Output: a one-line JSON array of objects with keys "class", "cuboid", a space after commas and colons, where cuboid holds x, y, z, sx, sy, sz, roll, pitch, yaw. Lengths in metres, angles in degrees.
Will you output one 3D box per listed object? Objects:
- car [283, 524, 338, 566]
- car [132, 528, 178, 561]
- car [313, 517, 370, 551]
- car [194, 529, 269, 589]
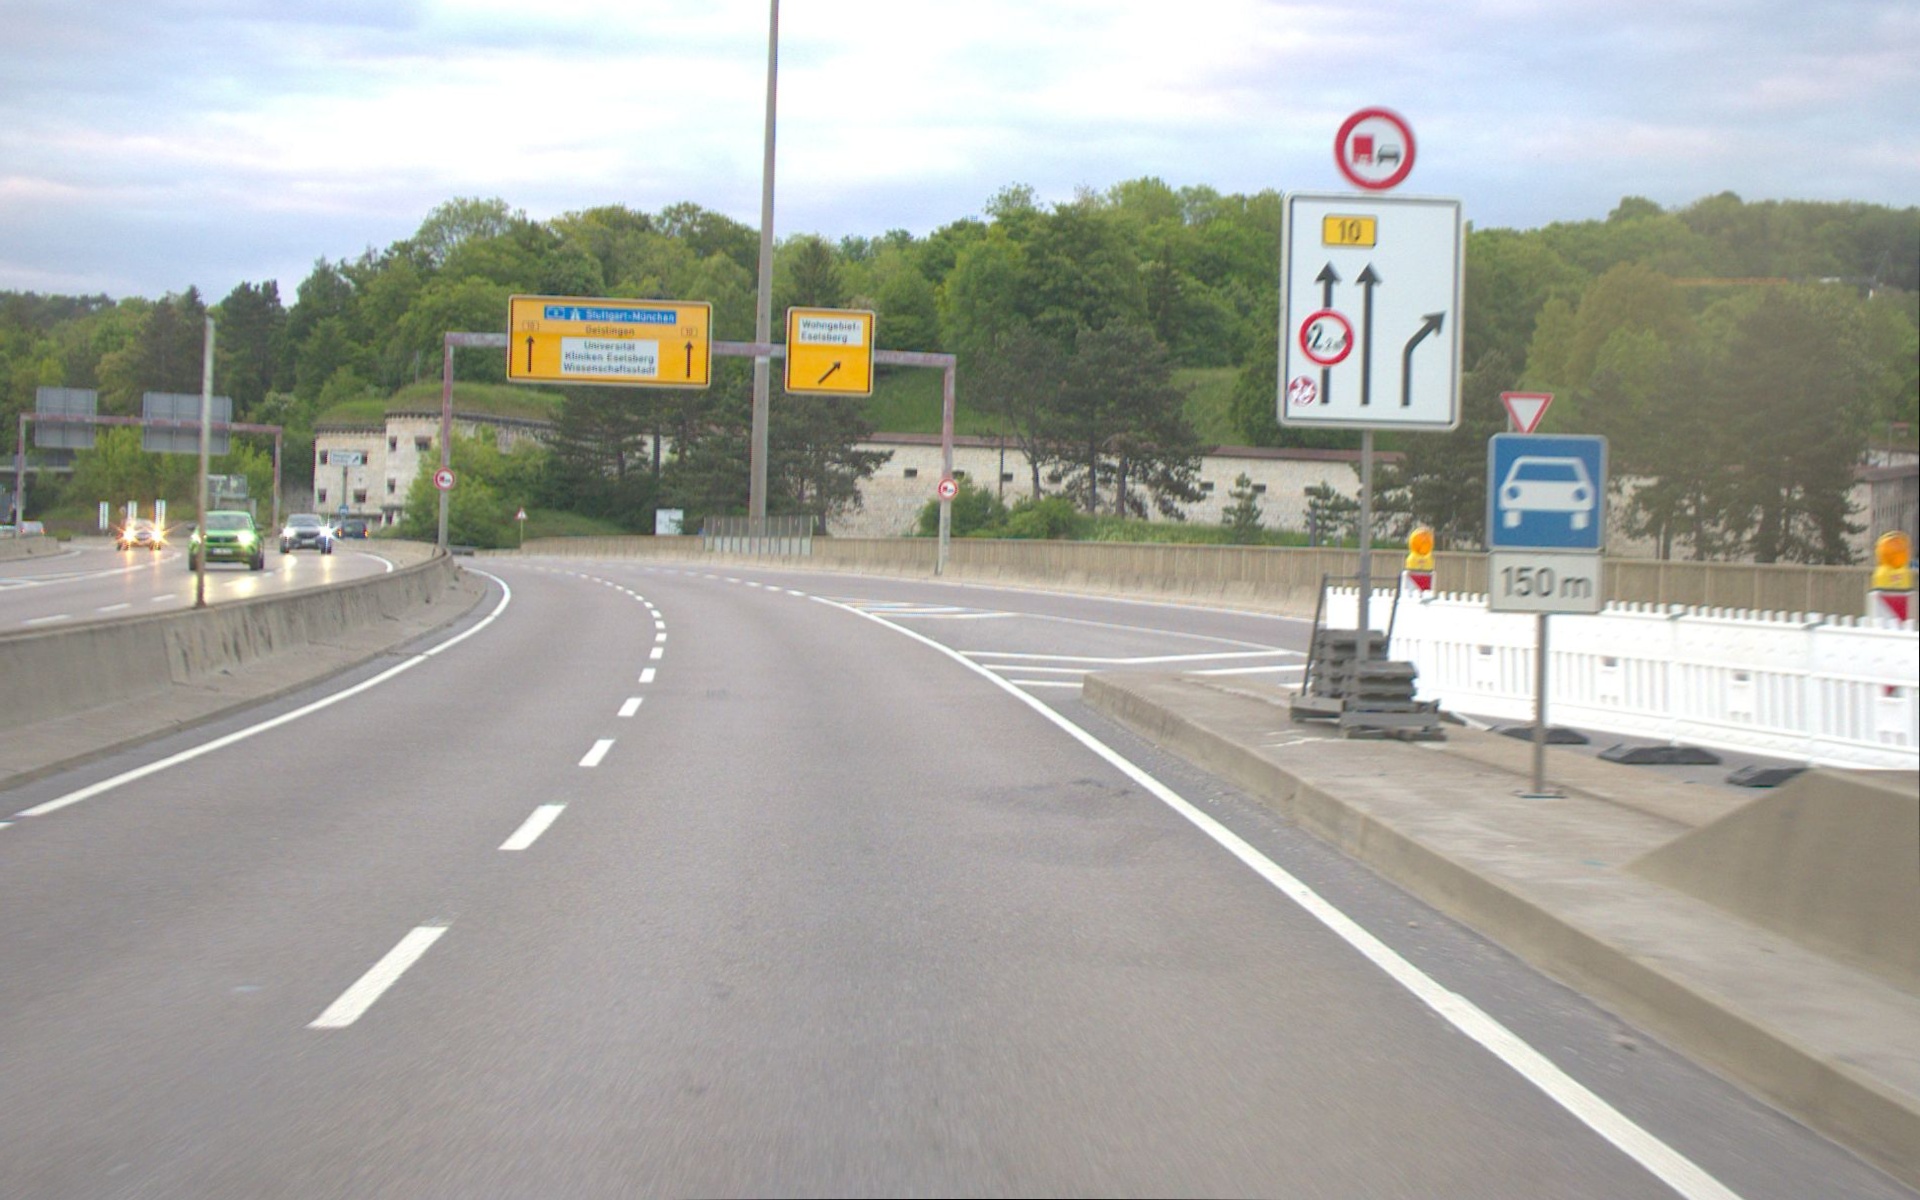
[{"class": "car", "cuboid": [-24.763, -2.102, 130.945, 1.810, 1.529, 4.548, 2, 1, -13]}, {"class": "car", "cuboid": [-37.301, -2.588, 159.267, 1.730, 1.471, 4.225, 1, 1, -17]}, {"class": "car", "cuboid": [-35.150, -3.764, 195.367, 2.304, 1.758, 4.263, 3, 1, -21]}, {"class": "car", "cuboid": [-19.012, -1.080, 89.799, 1.710, 1.489, 4.082, 2, 1, -10]}]
